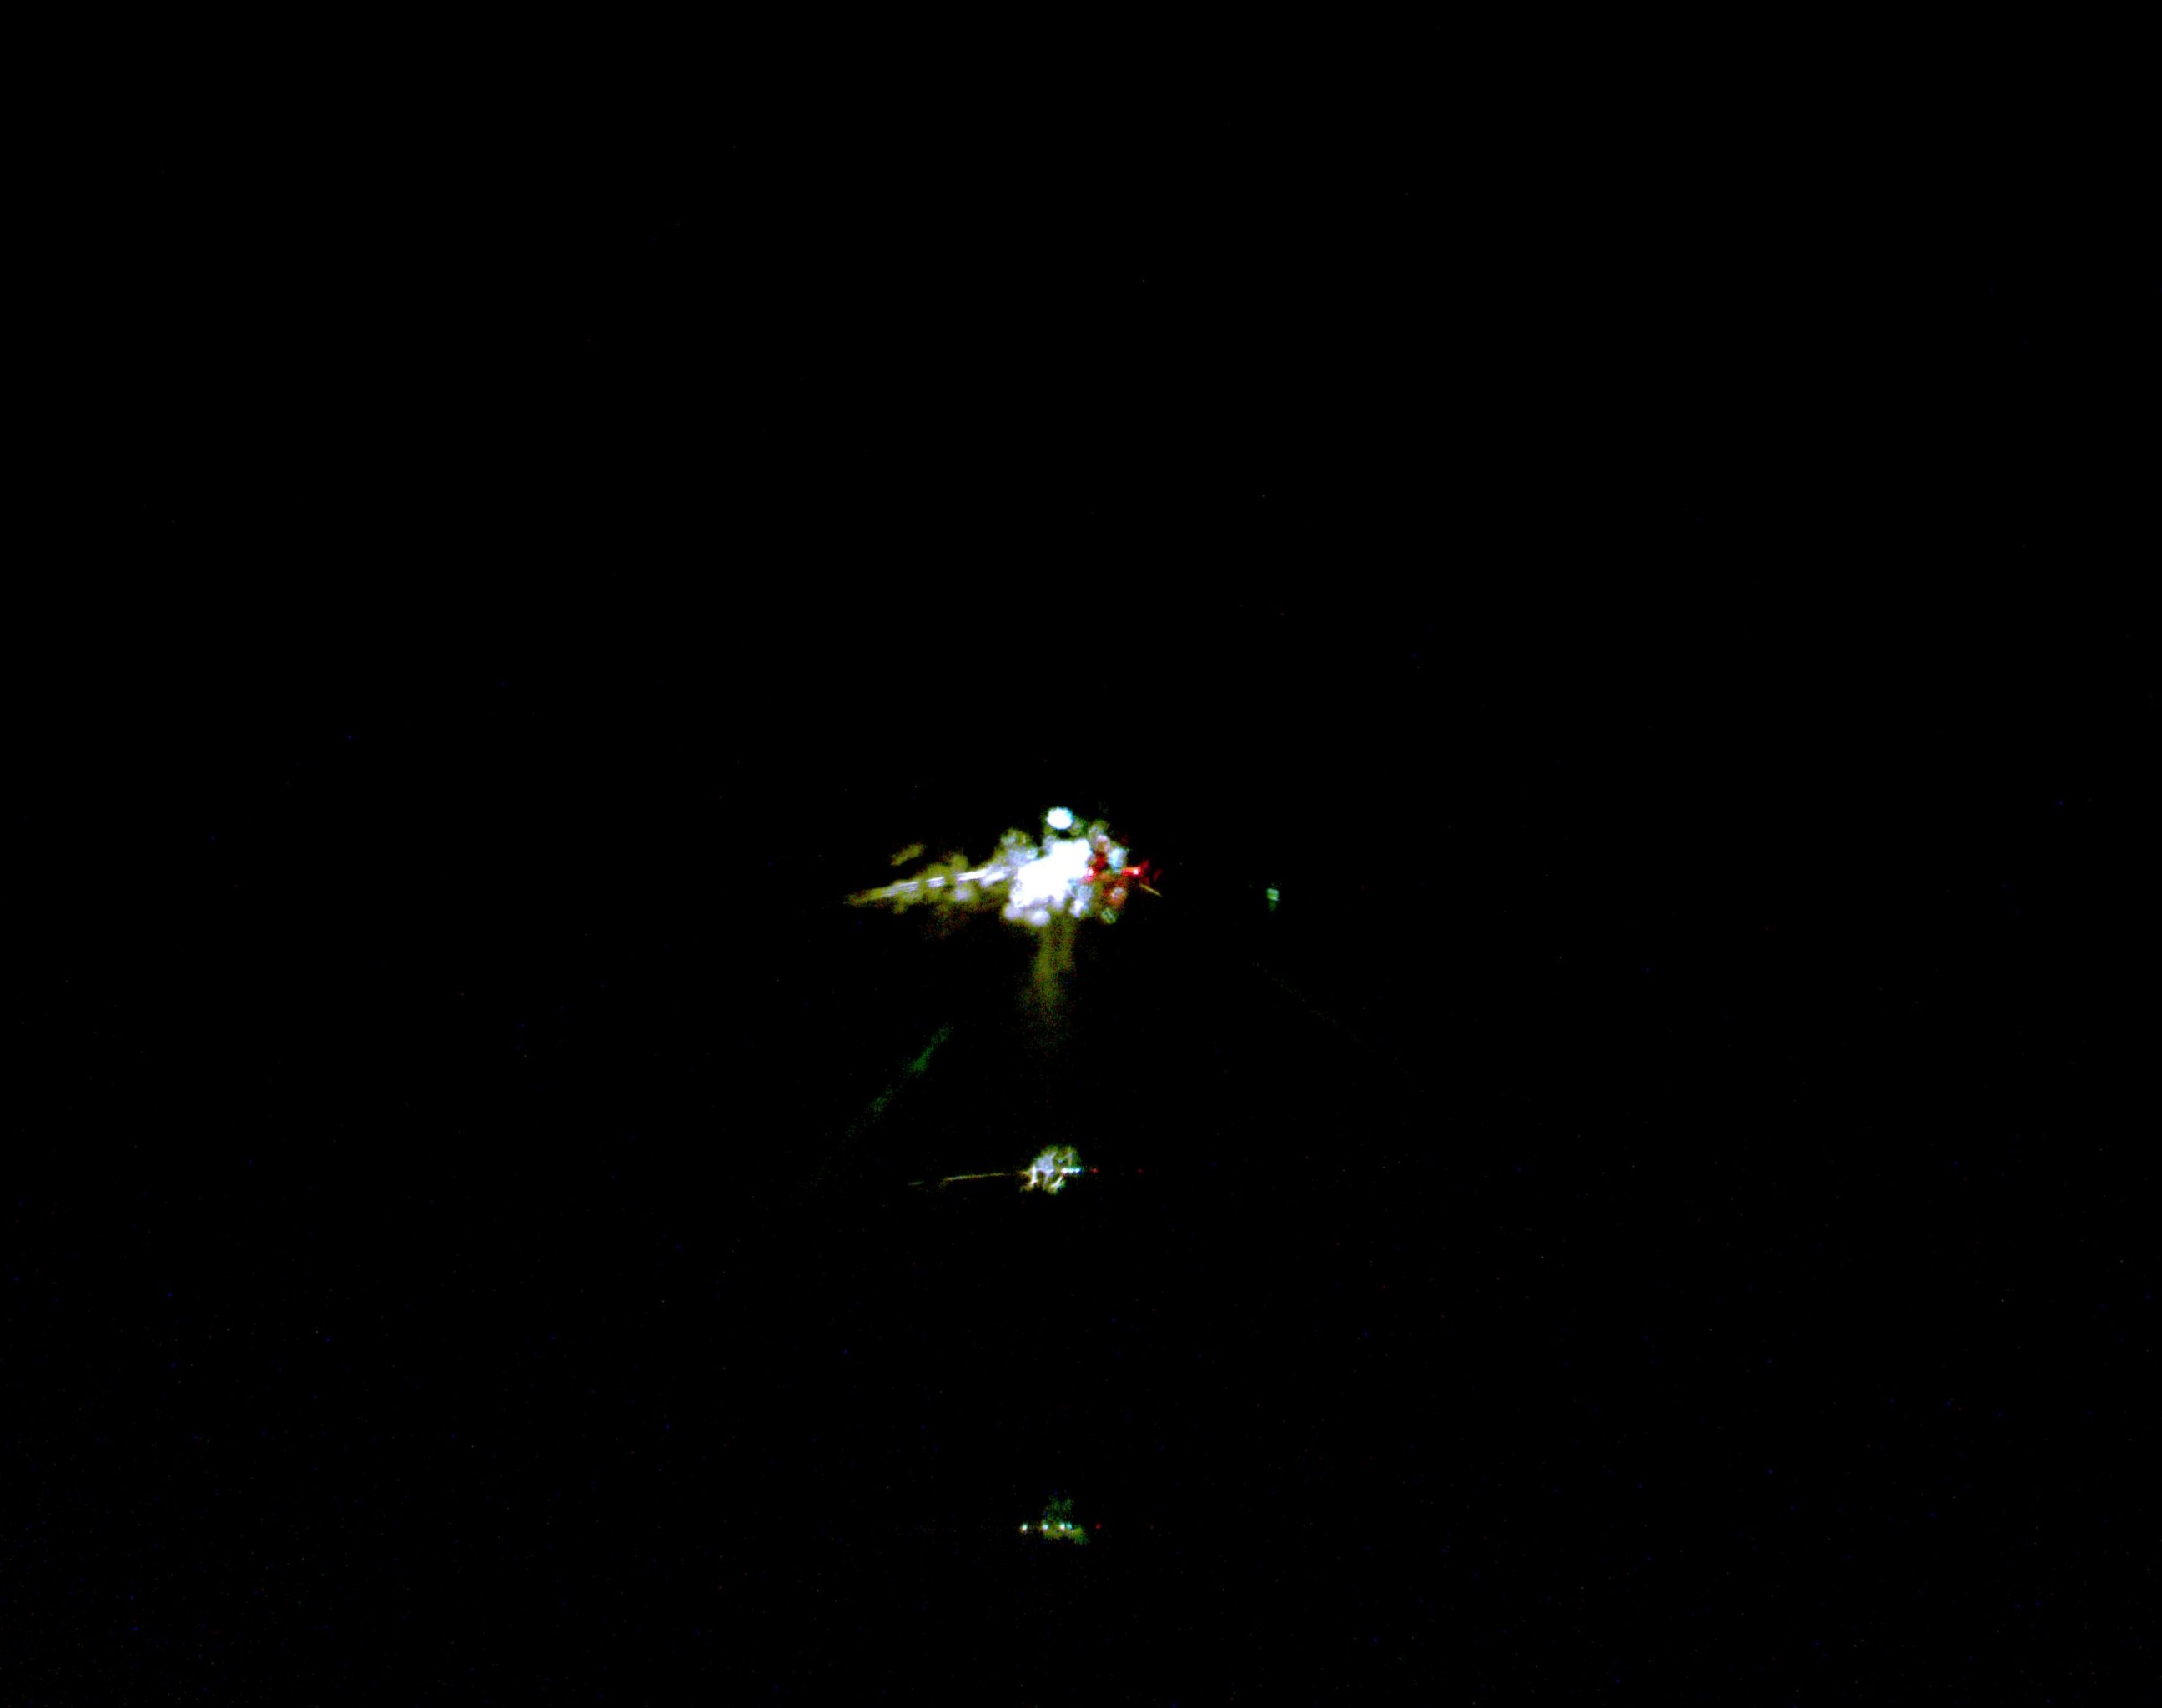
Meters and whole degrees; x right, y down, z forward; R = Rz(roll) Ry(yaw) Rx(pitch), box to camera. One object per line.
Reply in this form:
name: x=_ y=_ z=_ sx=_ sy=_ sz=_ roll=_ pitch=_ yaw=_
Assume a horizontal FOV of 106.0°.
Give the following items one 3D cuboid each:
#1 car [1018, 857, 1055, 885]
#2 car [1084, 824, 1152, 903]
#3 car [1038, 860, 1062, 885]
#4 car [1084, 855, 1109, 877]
car: x=-2.553 y=0.970 z=47.376 sx=1.837 sy=1.505 sz=3.710 roll=-1 pitch=-1 yaw=1
car: x=1.297 y=0.248 z=29.260 sx=2.173 sy=2.557 sz=4.510 roll=2 pitch=1 yaw=2
car: x=-2.564 y=1.511 z=68.327 sx=1.830 sy=1.843 sz=4.000 roll=-2 pitch=2 yaw=0
car: x=1.160 y=0.833 z=58.387 sx=1.701 sy=1.505 sz=3.607 roll=-1 pitch=-1 yaw=2
